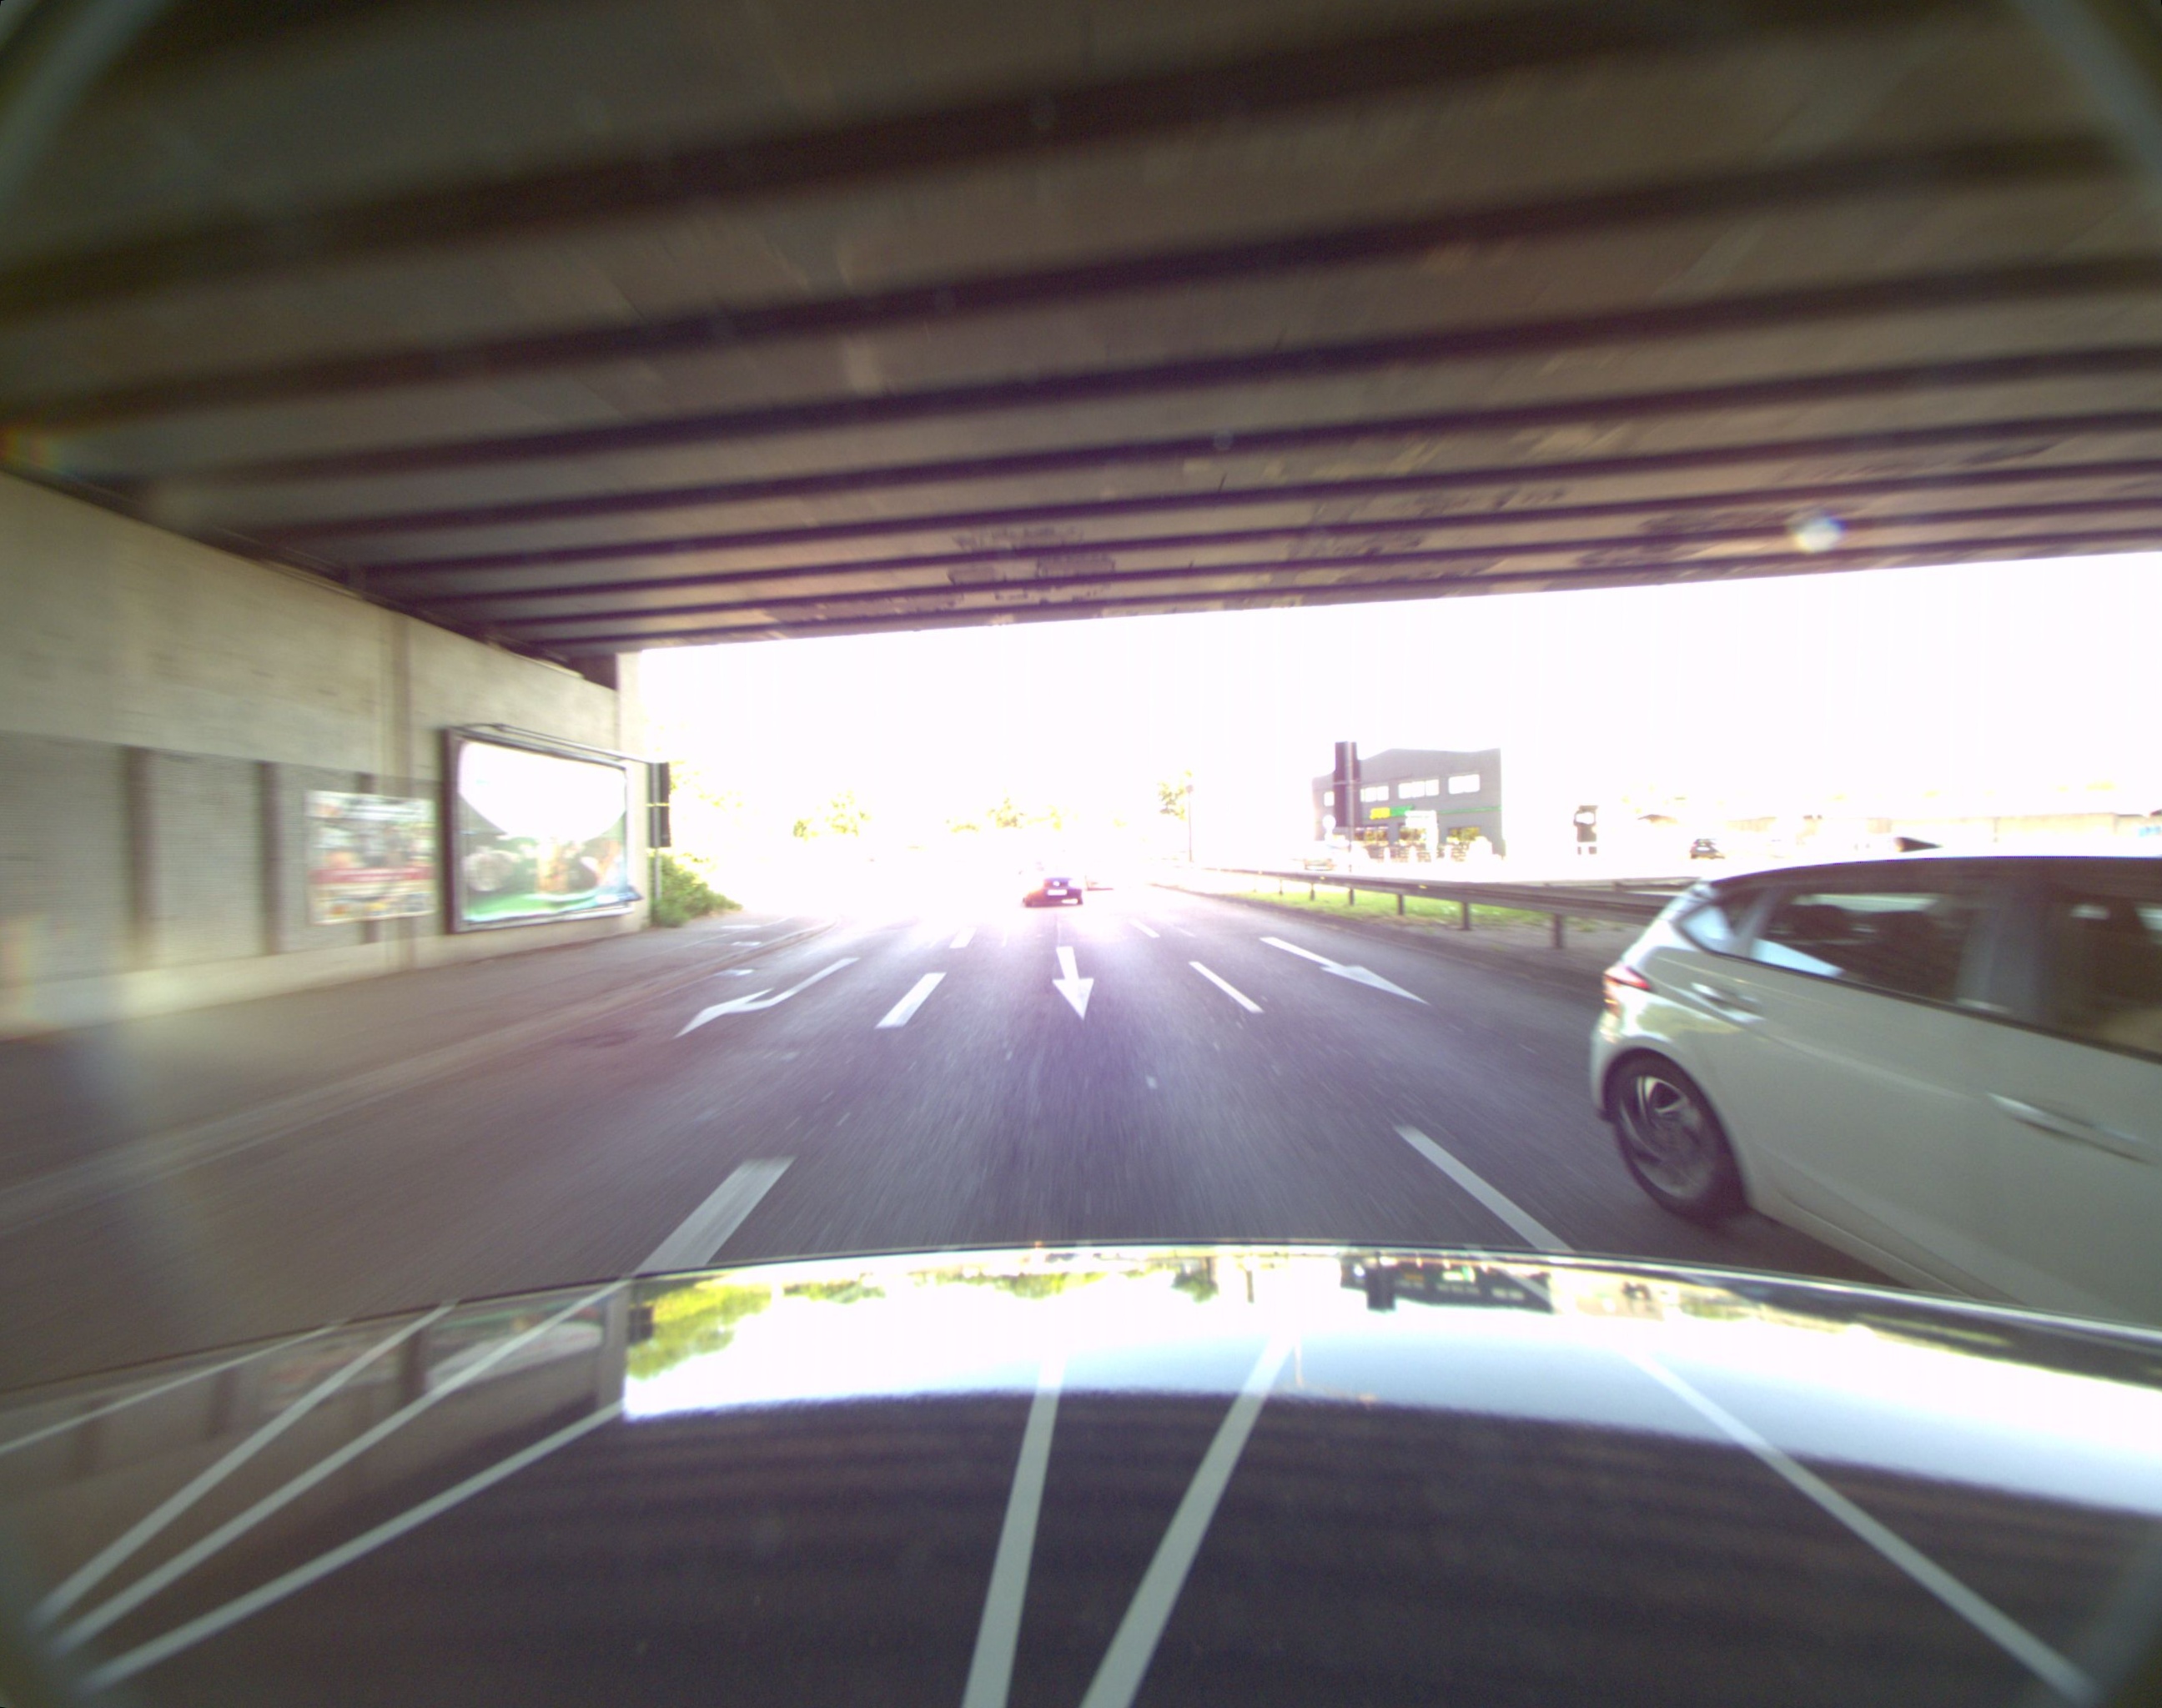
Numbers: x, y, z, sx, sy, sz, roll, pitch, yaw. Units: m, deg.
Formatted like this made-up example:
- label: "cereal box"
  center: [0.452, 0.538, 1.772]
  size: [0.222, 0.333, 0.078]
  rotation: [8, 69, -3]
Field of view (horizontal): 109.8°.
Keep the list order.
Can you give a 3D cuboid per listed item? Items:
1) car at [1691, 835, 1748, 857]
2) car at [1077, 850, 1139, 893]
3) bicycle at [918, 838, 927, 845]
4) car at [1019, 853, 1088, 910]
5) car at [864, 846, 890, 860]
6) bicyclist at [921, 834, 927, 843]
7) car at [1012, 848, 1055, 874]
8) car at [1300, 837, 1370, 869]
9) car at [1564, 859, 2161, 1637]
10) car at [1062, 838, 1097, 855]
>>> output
- label: "car"
  center: [38.272, -0.472, 45.493]
  size: [4.191, 1.274, 1.825]
  rotation: [1, 1, -39]
- label: "car"
  center: [0.935, 0.596, 28.478]
  size: [1.849, 1.412, 3.979]
  rotation: [-1, 1, -4]
- label: "bicycle"
  center: [-25.276, -2.051, 121.448]
  size: [0.594, 1.018, 1.745]
  rotation: [-5, 3, -39]
- label: "car"
  center: [-0.905, 0.734, 22.498]
  size: [1.738, 1.412, 4.316]
  rotation: [-3, 1, -6]
- label: "car"
  center: [-22.845, -0.076, 85.153]
  size: [1.852, 1.474, 3.973]
  rotation: [-1, -1, -29]
- label: "bicyclist"
  center: [-25.100, -2.505, 121.211]
  size: [0.594, 1.419, 0.707]
  rotation: [-4, 3, -41]
- label: "car"
  center: [-3.049, 0.413, 48.090]
  size: [1.858, 1.471, 4.224]
  rotation: [-2, 1, -15]
- label: "car"
  center: [12.661, -0.068, 38.100]
  size: [1.624, 1.511, 3.821]
  rotation: [-1, 0, -13]
- label: "car"
  center: [3.008, 0.805, 1.363]
  size: [1.737, 1.471, 3.990]
  rotation: [-2, 1, 0]
- label: "car"
  center: [-0.183, -0.690, 74.151]
  size: [1.833, 1.578, 4.173]
  rotation: [-1, 0, -26]
